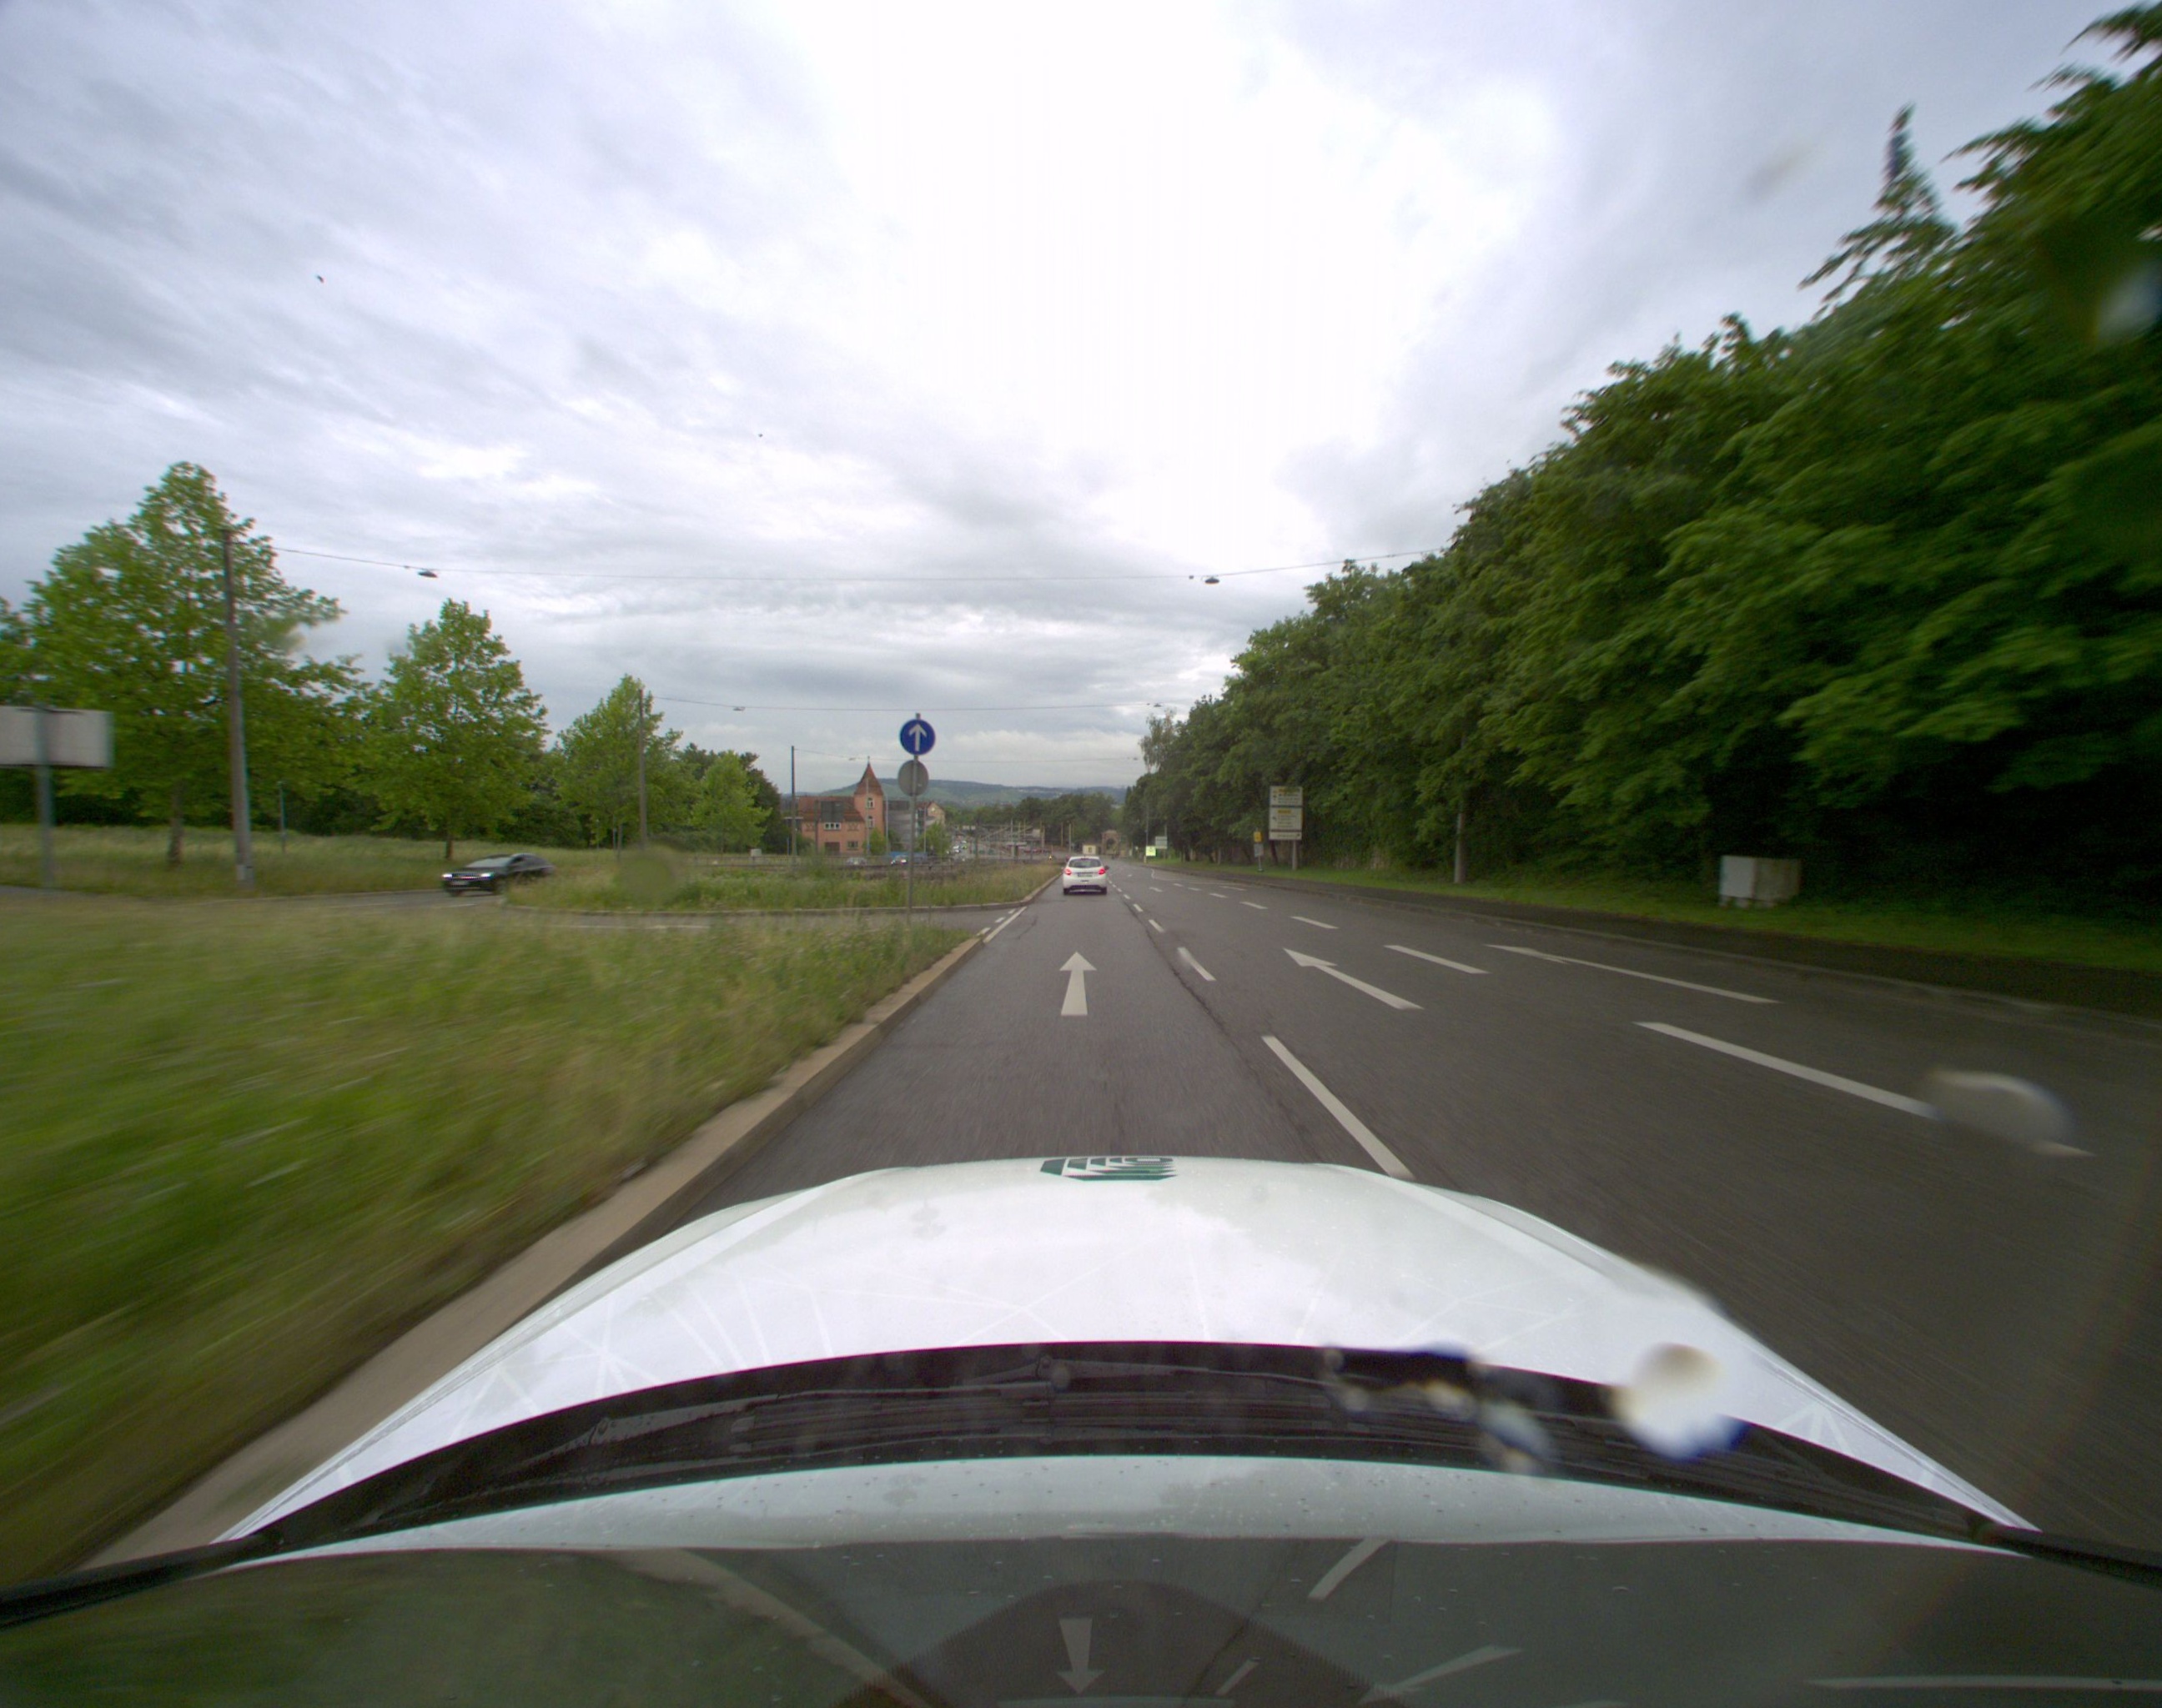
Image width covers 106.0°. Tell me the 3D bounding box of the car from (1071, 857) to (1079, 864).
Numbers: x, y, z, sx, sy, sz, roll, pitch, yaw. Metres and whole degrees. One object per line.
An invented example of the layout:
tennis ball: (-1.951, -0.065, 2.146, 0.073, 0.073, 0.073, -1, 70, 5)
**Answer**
car: (-1.367, 1.647, 198.800, 1.816, 1.606, 4.001, -2, 0, 1)

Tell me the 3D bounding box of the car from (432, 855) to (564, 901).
car: (-21.606, 0.826, 30.444, 1.651, 1.528, 4.436, 1, 0, 1)

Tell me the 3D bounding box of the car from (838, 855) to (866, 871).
car: (-25.256, 0.962, 89.797, 1.884, 1.641, 3.973, 0, 0, 1)

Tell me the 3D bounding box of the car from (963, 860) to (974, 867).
car: (-22.978, 2.012, 166.580, 1.550, 1.292, 3.560, 1, 0, 1)

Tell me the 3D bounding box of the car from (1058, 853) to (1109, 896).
car: (0.142, 0.754, 32.308, 1.862, 1.511, 3.900, -2, 0, 1)

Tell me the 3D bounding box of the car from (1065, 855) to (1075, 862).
car: (-2.873, 1.153, 206.411, 1.993, 1.706, 3.987, 0, 0, -10)
